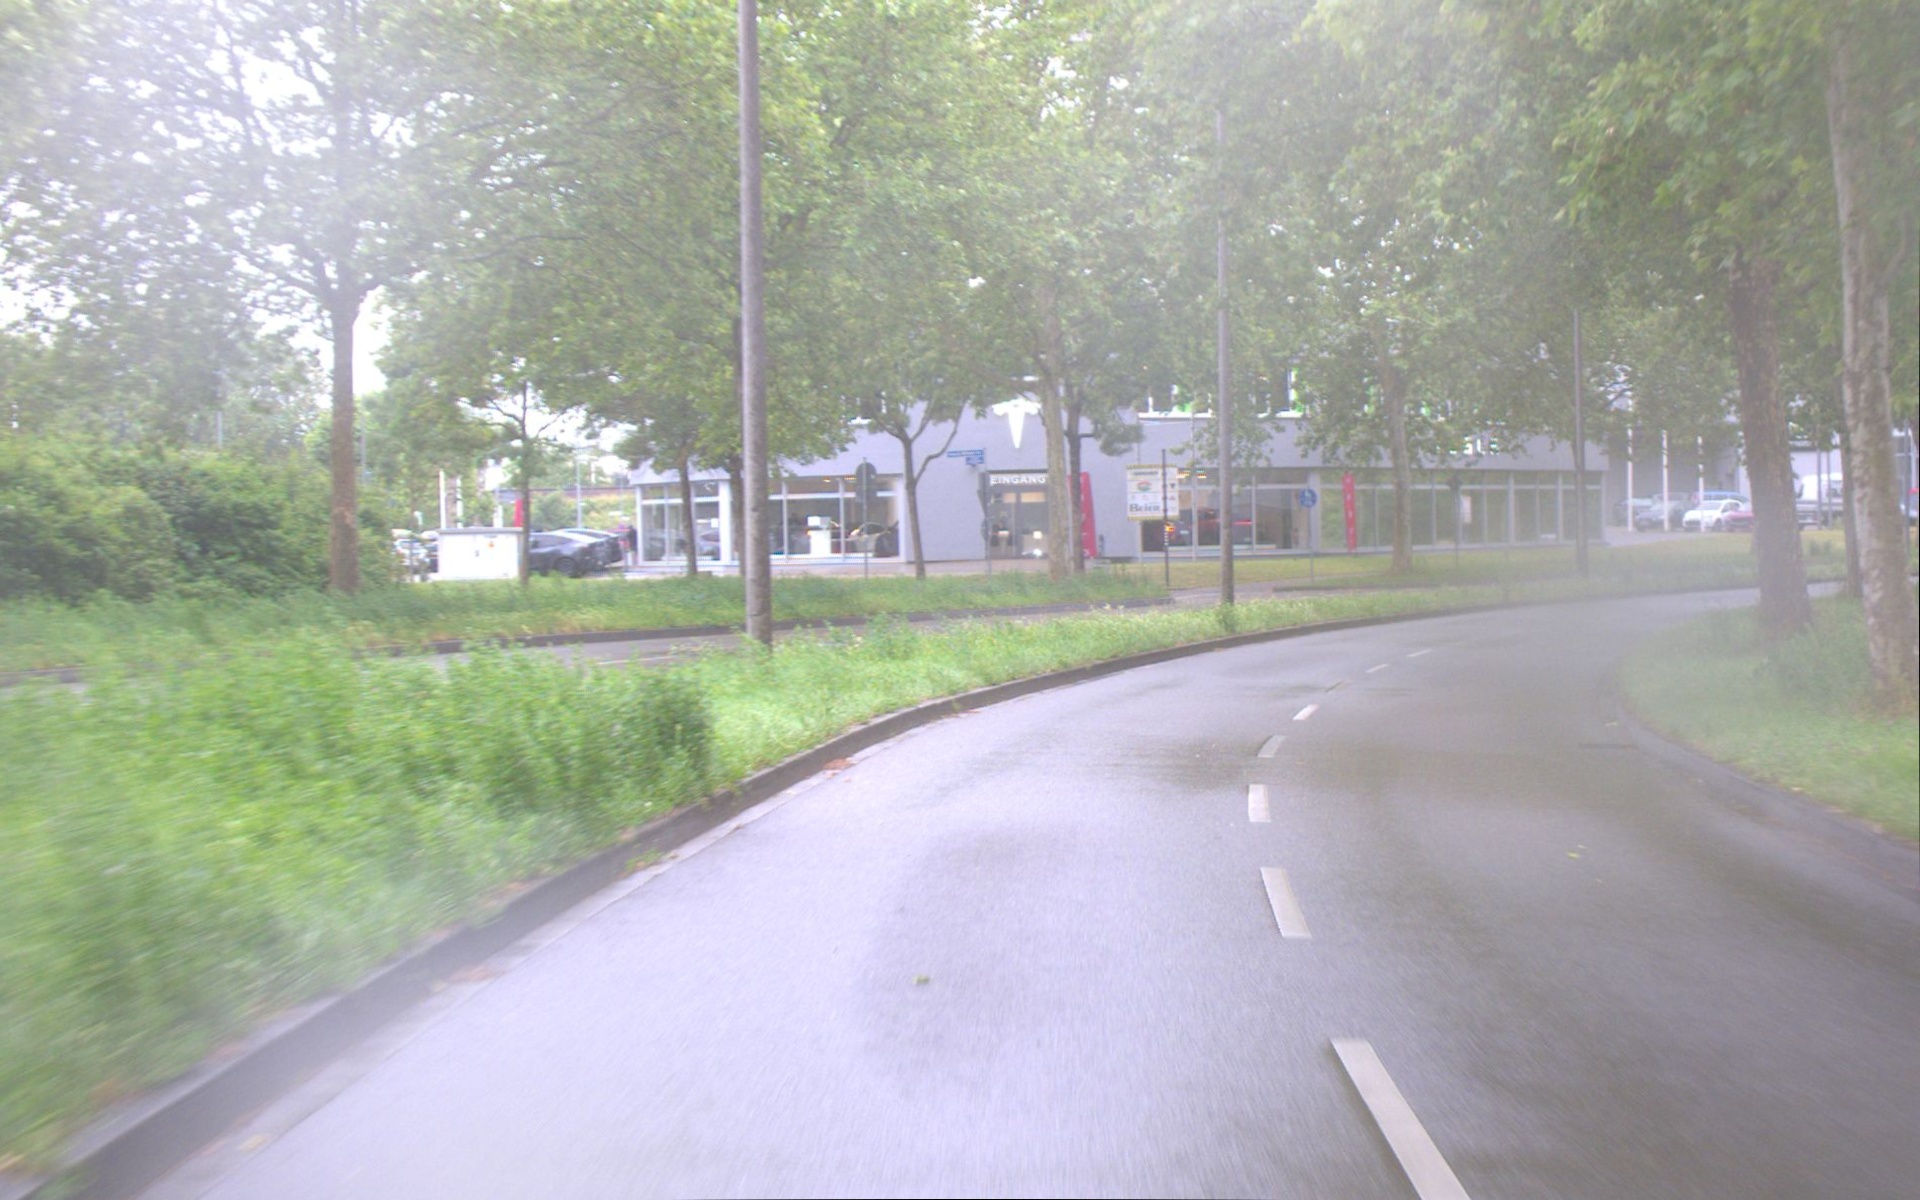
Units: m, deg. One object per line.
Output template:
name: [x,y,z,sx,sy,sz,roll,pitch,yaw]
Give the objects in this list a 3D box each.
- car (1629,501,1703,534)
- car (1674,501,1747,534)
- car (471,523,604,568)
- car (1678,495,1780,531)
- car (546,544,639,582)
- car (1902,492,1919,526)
car: [33.986,-3.996,165.468,1.767,1.392,4.148,2,5,39]
car: [35.807,-3.945,163.961,1.767,1.392,4.148,2,5,39]
car: [-14.276,-1.850,116.270,4.193,1.489,1.597,0,1,9]
car: [38.752,-4.397,173.293,4.638,1.758,1.821,0,3,-6]
car: [-14.306,-1.442,133.830,3.307,1.489,1.597,0,1,9]
car: [47.721,-4.341,165.784,1.843,1.551,4.007,-4,6,-45]
